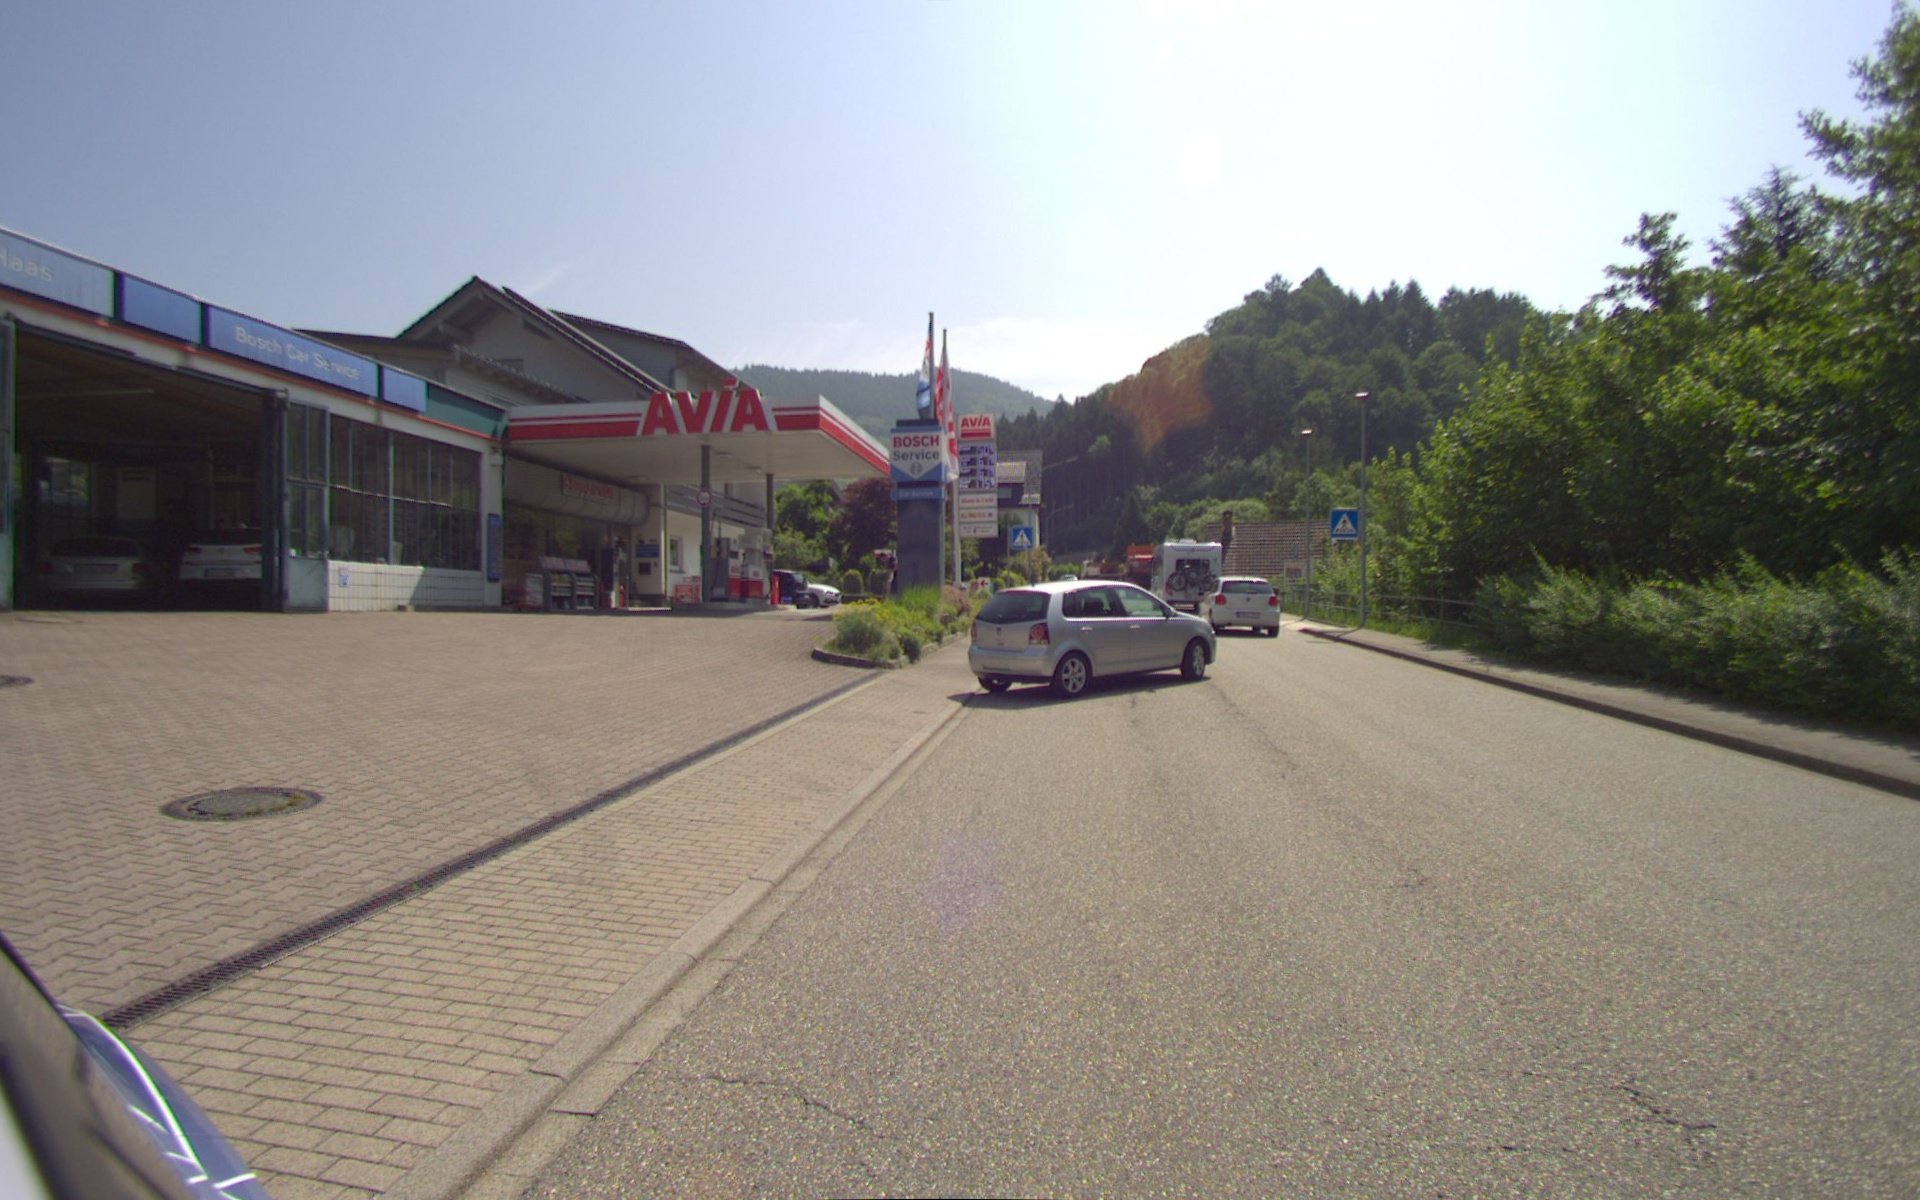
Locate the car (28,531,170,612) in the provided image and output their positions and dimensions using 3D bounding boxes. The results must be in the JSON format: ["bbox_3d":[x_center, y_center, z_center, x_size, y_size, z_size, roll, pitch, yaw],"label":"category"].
[{"bbox_3d":[-16.685,-0.477,19.766,1.522,1.417,3.489,0,-1,-31],"label":"car"}]

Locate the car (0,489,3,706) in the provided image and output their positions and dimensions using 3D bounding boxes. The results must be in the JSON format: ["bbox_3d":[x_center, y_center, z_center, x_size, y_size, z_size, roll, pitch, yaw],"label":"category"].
[{"bbox_3d":[-8.973,-0.071,6.335,4.270,1.556,1.800,3,3,-1],"label":"car"}]

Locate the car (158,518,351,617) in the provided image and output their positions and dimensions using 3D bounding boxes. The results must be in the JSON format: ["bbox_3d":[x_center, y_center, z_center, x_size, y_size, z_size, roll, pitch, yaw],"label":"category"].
[{"bbox_3d":[-13.803,-0.683,20.085,1.580,1.700,3.939,2,3,-9],"label":"car"}]

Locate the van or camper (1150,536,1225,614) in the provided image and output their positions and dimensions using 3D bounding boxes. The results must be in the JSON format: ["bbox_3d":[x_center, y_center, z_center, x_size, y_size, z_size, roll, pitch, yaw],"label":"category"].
[{"bbox_3d":[9.420,-1.055,42.552,2.338,2.975,8.032,1,1,8],"label":"van or camper"}]

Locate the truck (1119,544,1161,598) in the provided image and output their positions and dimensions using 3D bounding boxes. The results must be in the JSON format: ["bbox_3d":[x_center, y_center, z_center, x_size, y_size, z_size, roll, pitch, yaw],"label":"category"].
[{"bbox_3d":[12.793,-2.107,72.436,2.623,3.608,8.172,1,2,9],"label":"truck"}]

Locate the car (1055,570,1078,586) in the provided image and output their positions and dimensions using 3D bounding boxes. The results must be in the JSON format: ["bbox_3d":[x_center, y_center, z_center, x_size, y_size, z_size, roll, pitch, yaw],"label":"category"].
[{"bbox_3d":[11.741,-2.430,111.592,1.762,1.585,3.602,3,3,-4],"label":"car"}]

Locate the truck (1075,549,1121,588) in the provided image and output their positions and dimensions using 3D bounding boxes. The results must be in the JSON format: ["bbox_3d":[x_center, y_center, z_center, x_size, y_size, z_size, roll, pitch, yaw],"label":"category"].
[{"bbox_3d":[13.398,-3.160,98.690,2.612,3.608,7.785,1,2,-6],"label":"truck"}]

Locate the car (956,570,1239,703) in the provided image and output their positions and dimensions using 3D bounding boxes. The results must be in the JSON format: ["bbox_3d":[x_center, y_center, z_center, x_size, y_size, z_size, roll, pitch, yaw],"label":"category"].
[{"bbox_3d":[1.922,0.385,13.748,3.695,1.493,1.600,-2,4,-35],"label":"car"}]

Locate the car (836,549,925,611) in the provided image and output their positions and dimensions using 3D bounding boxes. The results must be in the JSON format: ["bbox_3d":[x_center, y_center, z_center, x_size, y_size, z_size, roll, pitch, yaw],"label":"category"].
[{"bbox_3d":[-2.213,-0.632,29.313,1.678,1.589,3.901,3,3,9],"label":"car"}]

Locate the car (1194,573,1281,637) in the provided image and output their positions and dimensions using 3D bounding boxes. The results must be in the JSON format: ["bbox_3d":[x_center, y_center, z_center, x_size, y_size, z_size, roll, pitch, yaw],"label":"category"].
[{"bbox_3d":[7.054,0.069,26.038,1.591,1.416,3.819,2,3,7],"label":"car"}]

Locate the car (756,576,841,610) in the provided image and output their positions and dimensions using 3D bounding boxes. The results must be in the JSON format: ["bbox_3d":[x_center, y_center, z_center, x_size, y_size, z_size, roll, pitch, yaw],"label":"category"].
[{"bbox_3d":[-6.347,-0.294,39.904,3.046,1.153,1.332,3,3,7],"label":"car"}]
